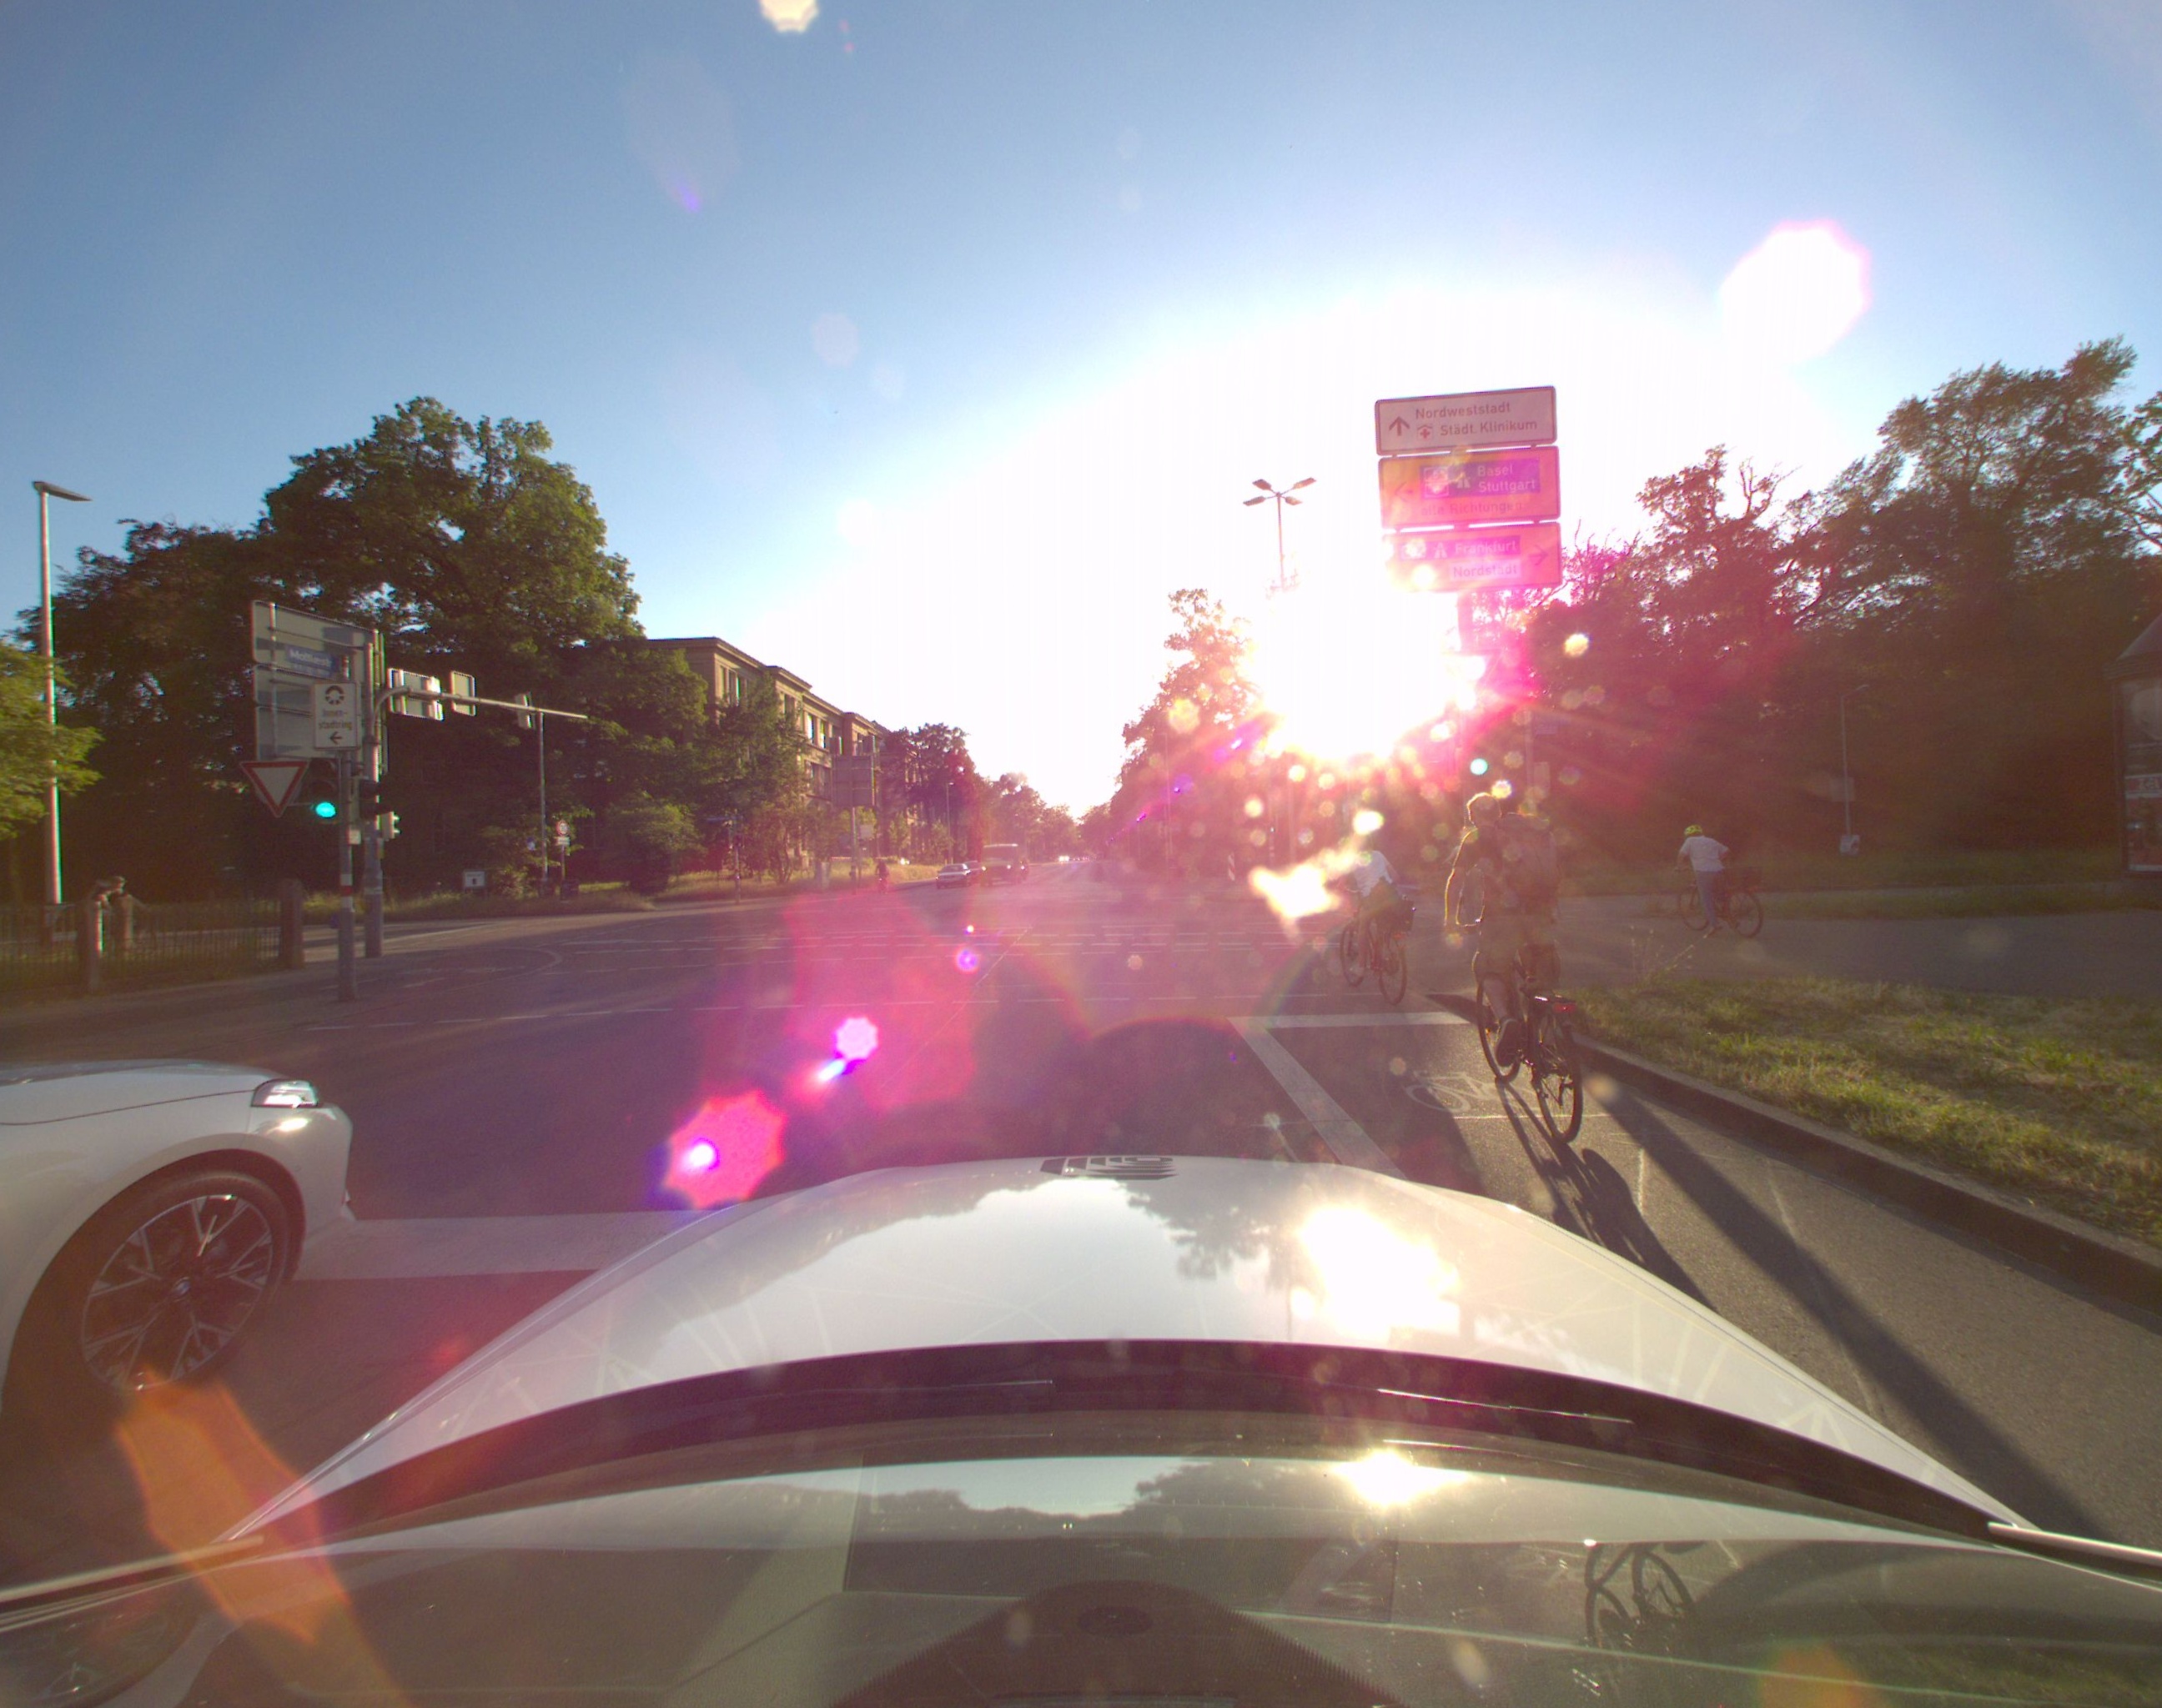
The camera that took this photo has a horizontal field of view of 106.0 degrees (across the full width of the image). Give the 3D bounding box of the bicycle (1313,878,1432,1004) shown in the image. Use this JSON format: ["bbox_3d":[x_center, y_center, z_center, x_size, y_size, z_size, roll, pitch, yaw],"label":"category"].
[{"bbox_3d":[3.020,0.849,8.633,0.611,1.138,1.885,-1,0,2],"label":"bicycle"}]

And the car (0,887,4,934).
[{"bbox_3d":[-44.733,2.295,31.317,4.093,1.845,1.862,-2,0,0],"label":"car"}]

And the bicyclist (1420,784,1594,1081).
[{"bbox_3d":[2.572,0.446,5.007,0.694,1.667,0.800,-1,-1,8],"label":"bicyclist"}]

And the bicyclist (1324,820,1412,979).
[{"bbox_3d":[3.011,0.459,8.629,0.601,1.586,0.910,-1,0,1],"label":"bicyclist"}]

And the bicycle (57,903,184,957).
[{"bbox_3d":[-20.244,1.593,17.187,1.890,1.089,0.660,0,-1,0],"label":"bicycle"}]

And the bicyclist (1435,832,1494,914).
[{"bbox_3d":[7.432,0.361,15.808,0.756,1.518,0.858,-1,0,4],"label":"bicyclist"}]

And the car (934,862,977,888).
[{"bbox_3d":[-7.464,1.202,48.786,1.723,1.409,4.141,-2,0,2],"label":"car"}]

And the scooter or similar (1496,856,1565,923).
[{"bbox_3d":[8.528,0.654,15.511,0.559,1.189,1.423,-2,-1,3],"label":"scooter or similar"}]

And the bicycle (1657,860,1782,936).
[{"bbox_3d":[9.412,0.617,12.102,0.561,1.014,1.805,-2,0,6],"label":"bicycle"}]

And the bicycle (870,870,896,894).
[{"bbox_3d":[-10.100,1.434,41.613,0.684,1.123,2.169,-2,0,2],"label":"bicycle"}]

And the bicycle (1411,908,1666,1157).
[{"bbox_3d":[2.562,0.915,4.827,0.695,1.063,1.829,-1,0,8],"label":"bicycle"}]

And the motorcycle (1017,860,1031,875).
[{"bbox_3d":[-3.867,0.926,55.454,0.751,1.001,1.879,-2,0,2],"label":"motorcycle"}]

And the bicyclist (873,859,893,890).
[{"bbox_3d":[-10.112,1.036,41.627,0.680,1.512,0.956,-2,0,1],"label":"bicyclist"}]

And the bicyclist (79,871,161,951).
[{"bbox_3d":[-20.274,1.186,17.194,0.908,1.633,0.653,0,-1,0],"label":"bicyclist"}]

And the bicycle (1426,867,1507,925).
[{"bbox_3d":[7.454,0.788,15.871,0.767,1.007,2.019,-1,0,5],"label":"bicycle"}]

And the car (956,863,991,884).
[{"bbox_3d":[-7.304,1.315,55.541,1.758,1.328,3.644,-2,0,2],"label":"car"}]

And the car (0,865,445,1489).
[{"bbox_3d":[-3.470,0.801,1.161,1.746,1.466,4.189,-2,0,1],"label":"car"}]

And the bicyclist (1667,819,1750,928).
[{"bbox_3d":[9.410,0.286,12.246,0.551,1.569,0.900,-2,-1,6],"label":"bicyclist"}]

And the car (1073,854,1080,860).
[{"bbox_3d":[-1.309,1.014,249.932,1.988,1.640,3.997,-2,0,-2],"label":"car"}]

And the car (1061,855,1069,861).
[{"bbox_3d":[-4.039,0.933,206.734,1.766,1.474,3.772,-2,0,-2],"label":"car"}]

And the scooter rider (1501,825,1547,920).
[{"bbox_3d":[8.529,0.352,15.690,0.563,1.766,0.505,-2,-1,2],"label":"scooter rider"}]

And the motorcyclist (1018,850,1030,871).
[{"bbox_3d":[-3.882,0.449,55.446,0.747,1.358,0.704,-2,-1,1],"label":"motorcyclist"}]

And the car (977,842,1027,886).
[{"bbox_3d":[-4.453,0.564,46.714,2.031,2.278,5.943,-2,0,2],"label":"car"}]
